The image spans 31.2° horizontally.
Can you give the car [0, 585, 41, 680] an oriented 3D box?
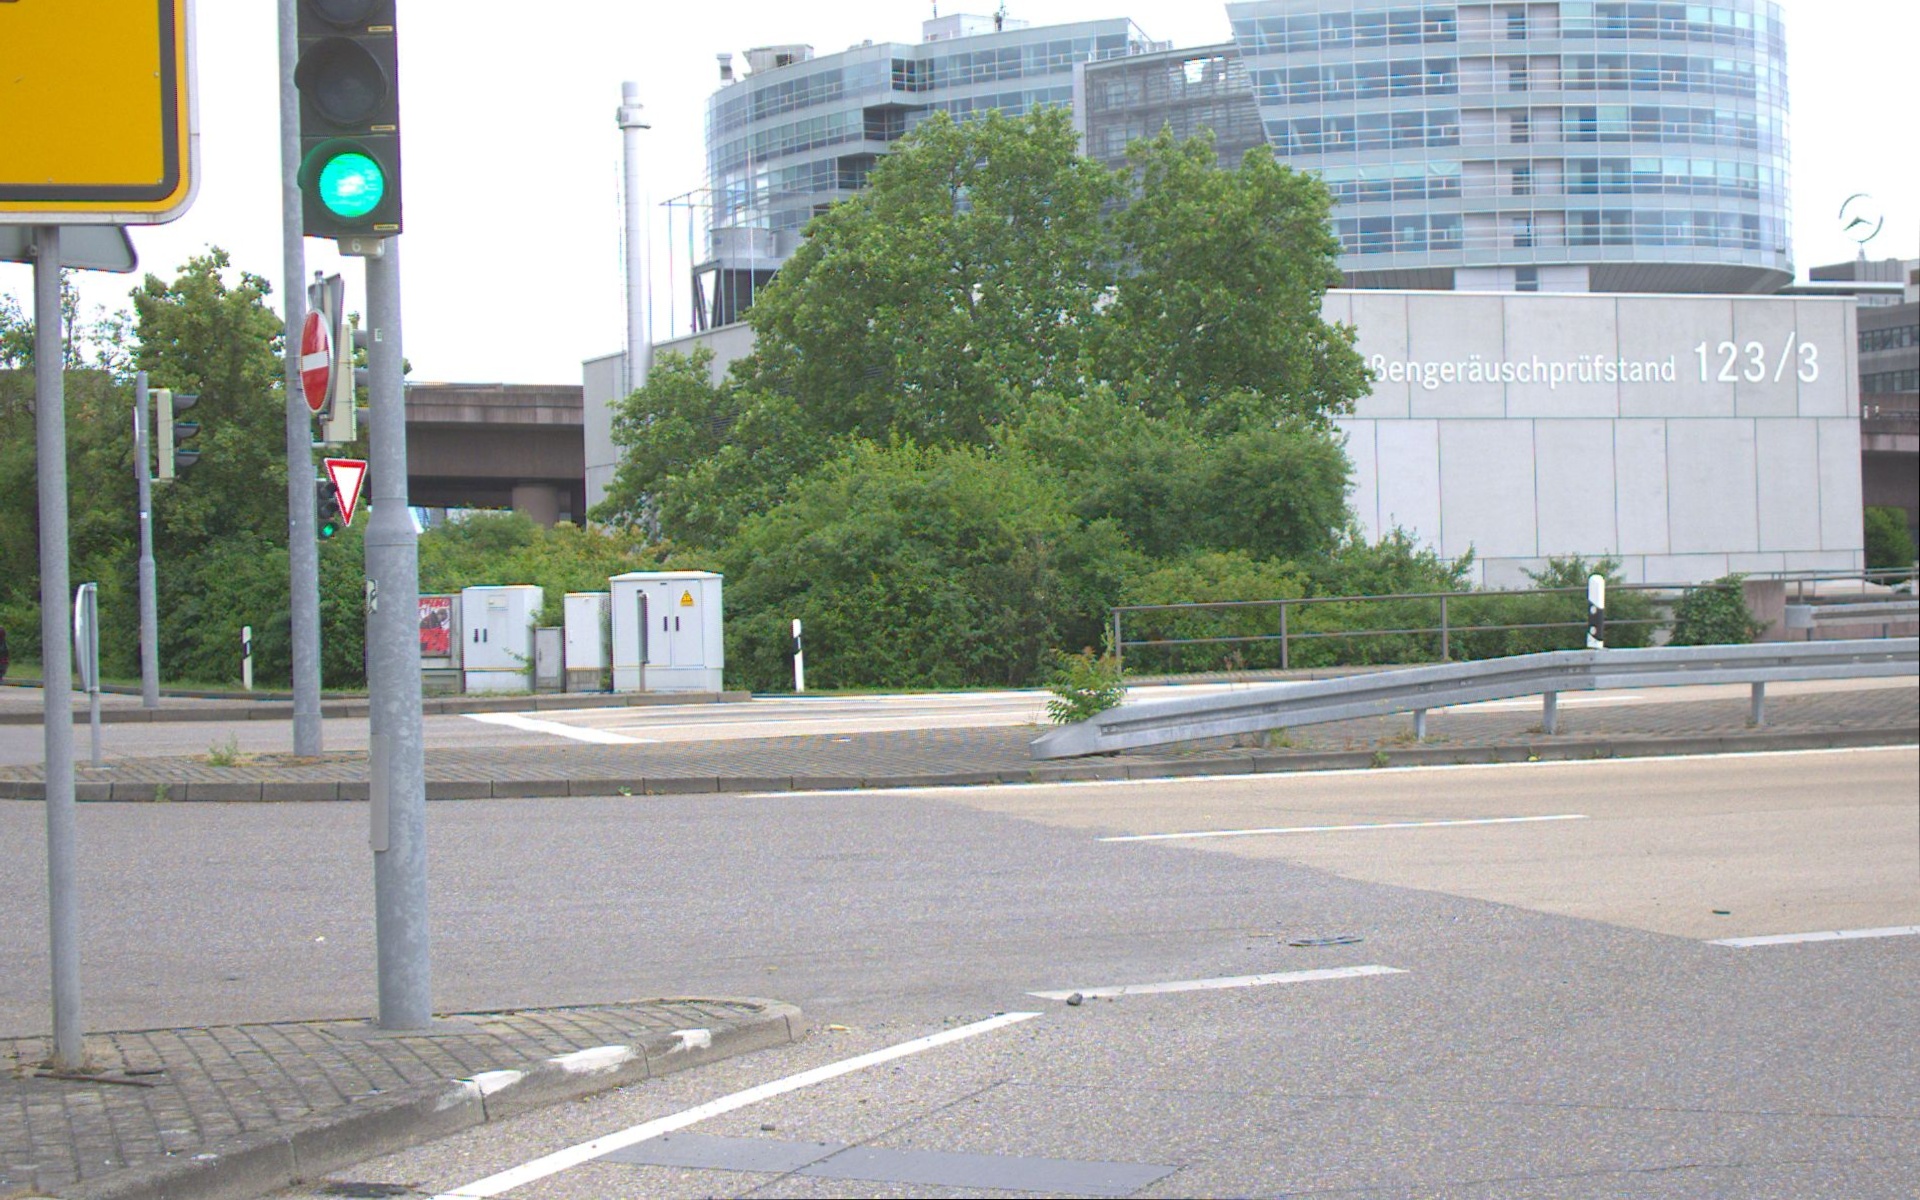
[{"bbox_3d":[-16.054,0.485,51.915,3.987,1.417,1.912,0,-1,29],"label":"car"}]
